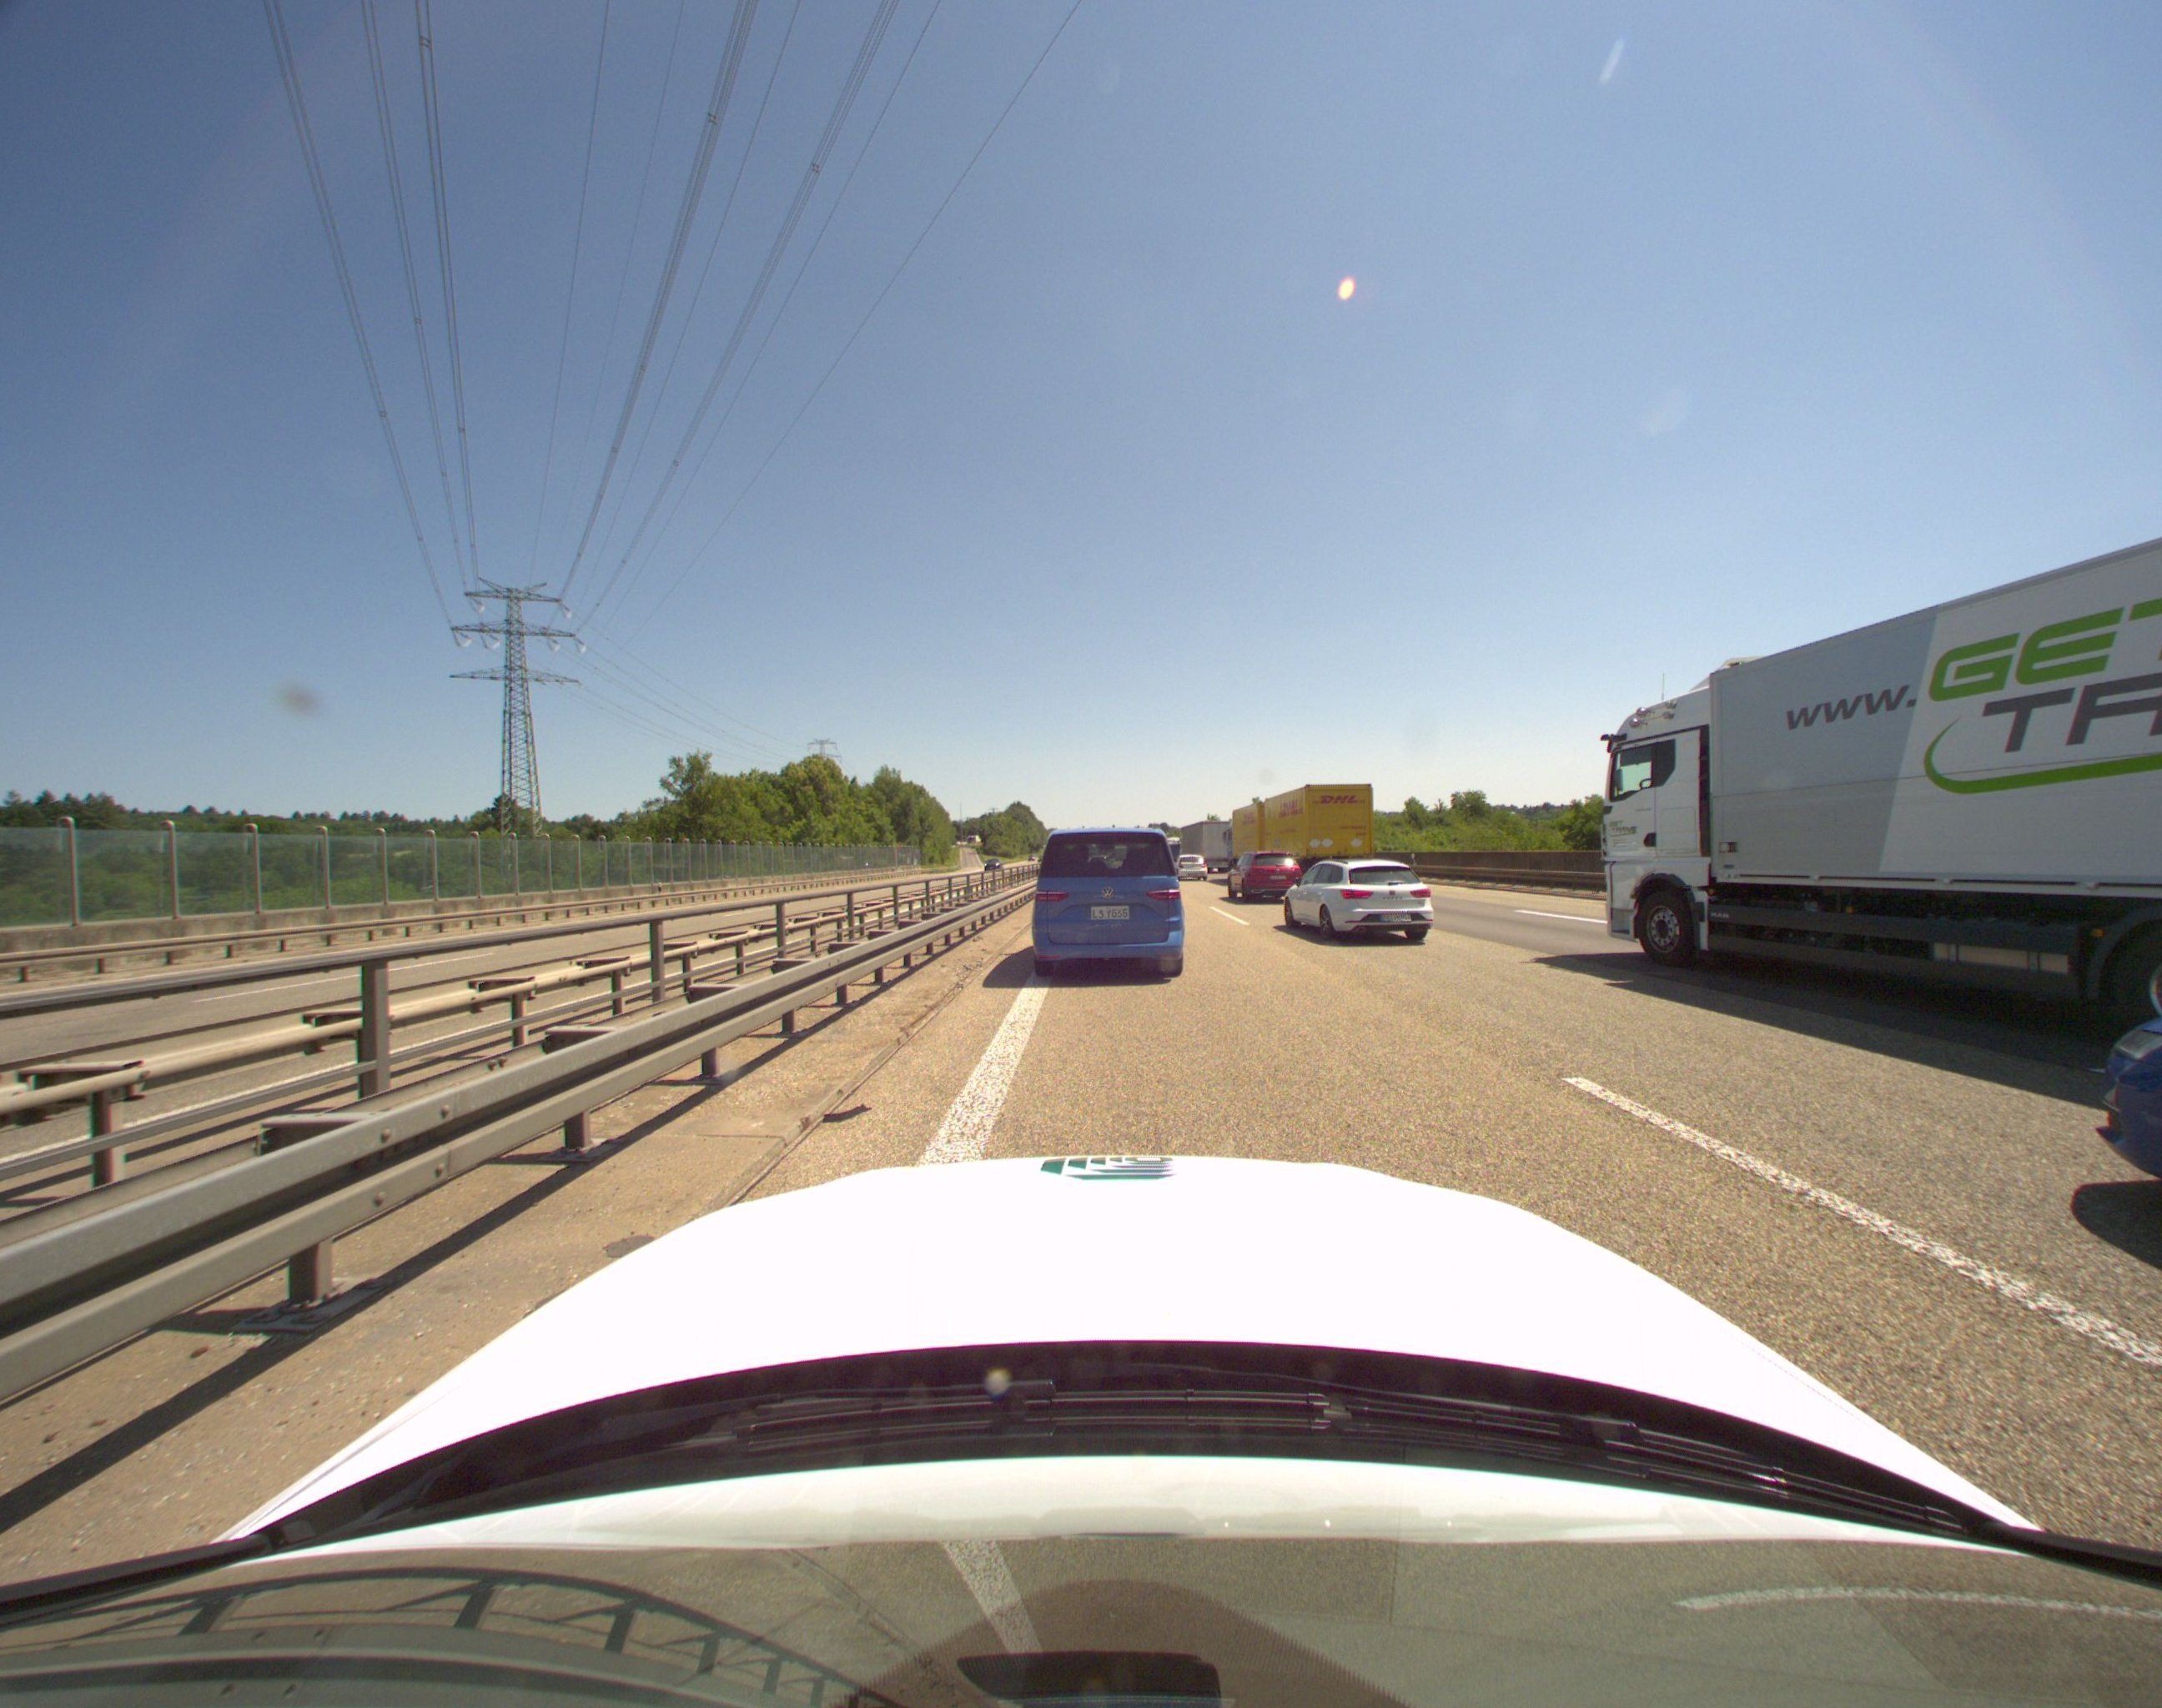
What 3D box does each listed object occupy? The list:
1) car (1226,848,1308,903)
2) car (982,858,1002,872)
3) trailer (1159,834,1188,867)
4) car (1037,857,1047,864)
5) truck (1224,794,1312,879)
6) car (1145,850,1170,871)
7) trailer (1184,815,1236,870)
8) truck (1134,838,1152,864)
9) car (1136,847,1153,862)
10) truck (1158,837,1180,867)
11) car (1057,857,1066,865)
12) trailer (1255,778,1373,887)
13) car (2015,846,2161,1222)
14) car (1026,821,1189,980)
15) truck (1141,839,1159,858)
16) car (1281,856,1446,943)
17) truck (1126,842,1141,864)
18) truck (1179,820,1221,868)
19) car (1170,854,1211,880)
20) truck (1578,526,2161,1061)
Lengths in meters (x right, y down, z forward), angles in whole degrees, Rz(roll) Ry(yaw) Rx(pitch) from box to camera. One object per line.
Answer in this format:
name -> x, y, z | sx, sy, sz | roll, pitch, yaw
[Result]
car -> 5.980, 0.638, 26.601 | 1.844, 1.608, 4.002 | -1, 1, 2
car -> -10.707, 1.267, 98.045 | 1.774, 1.569, 4.388 | -3, -1, 1
trailer -> 11.115, -0.327, 98.631 | 2.371, 3.744, 11.190 | 0, -1, 1
car -> -8.752, 1.482, 182.008 | 1.748, 1.547, 4.001 | -3, -1, 2
truck -> 9.852, -0.777, 44.146 | 2.712, 4.055, 10.339 | 0, -1, 2
car -> 6.305, 0.516, 67.196 | 1.709, 1.587, 3.821 | -2, 0, 1
trailer -> 10.370, -0.796, 66.651 | 2.745, 4.146, 11.315 | 0, -1, 2
truck -> 12.402, -0.567, 164.321 | 2.824, 5.040, 11.144 | 0, -1, 0
car -> 7.137, 0.047, 91.997 | 1.709, 1.540, 3.822 | -3, 0, 2
truck -> 11.251, -0.254, 104.557 | 2.359, 3.722, 6.034 | 0, -1, 1
car -> -4.367, 1.515, 182.266 | 1.748, 1.721, 4.102 | -3, 0, 2
trailer -> 9.543, -0.736, 34.495 | 2.691, 4.023, 8.933 | 0, -1, 2
car -> 4.992, 0.675, 1.364 | 1.704, 1.440, 4.499 | -1, 0, 0
car -> 0.371, 0.550, 11.550 | 1.875, 1.837, 4.001 | -1, 0, 2
truck -> 12.235, -0.849, 145.499 | 2.348, 3.218, 9.739 | 0, -1, 0
car -> 5.120, 0.747, 15.385 | 1.774, 1.387, 4.189 | -1, 0, 2
truck -> 12.520, -0.125, 196.050 | 2.824, 5.040, 11.815 | 0, -1, 0
truck -> 10.493, -0.794, 72.480 | 2.759, 4.095, 6.984 | 0, -1, 1
car -> 6.351, 0.725, 47.714 | 1.832, 1.414, 3.999 | -1, 0, 0
truck -> 8.735, -0.397, 6.809 | 2.840, 3.603, 10.771 | 0, -1, 2
